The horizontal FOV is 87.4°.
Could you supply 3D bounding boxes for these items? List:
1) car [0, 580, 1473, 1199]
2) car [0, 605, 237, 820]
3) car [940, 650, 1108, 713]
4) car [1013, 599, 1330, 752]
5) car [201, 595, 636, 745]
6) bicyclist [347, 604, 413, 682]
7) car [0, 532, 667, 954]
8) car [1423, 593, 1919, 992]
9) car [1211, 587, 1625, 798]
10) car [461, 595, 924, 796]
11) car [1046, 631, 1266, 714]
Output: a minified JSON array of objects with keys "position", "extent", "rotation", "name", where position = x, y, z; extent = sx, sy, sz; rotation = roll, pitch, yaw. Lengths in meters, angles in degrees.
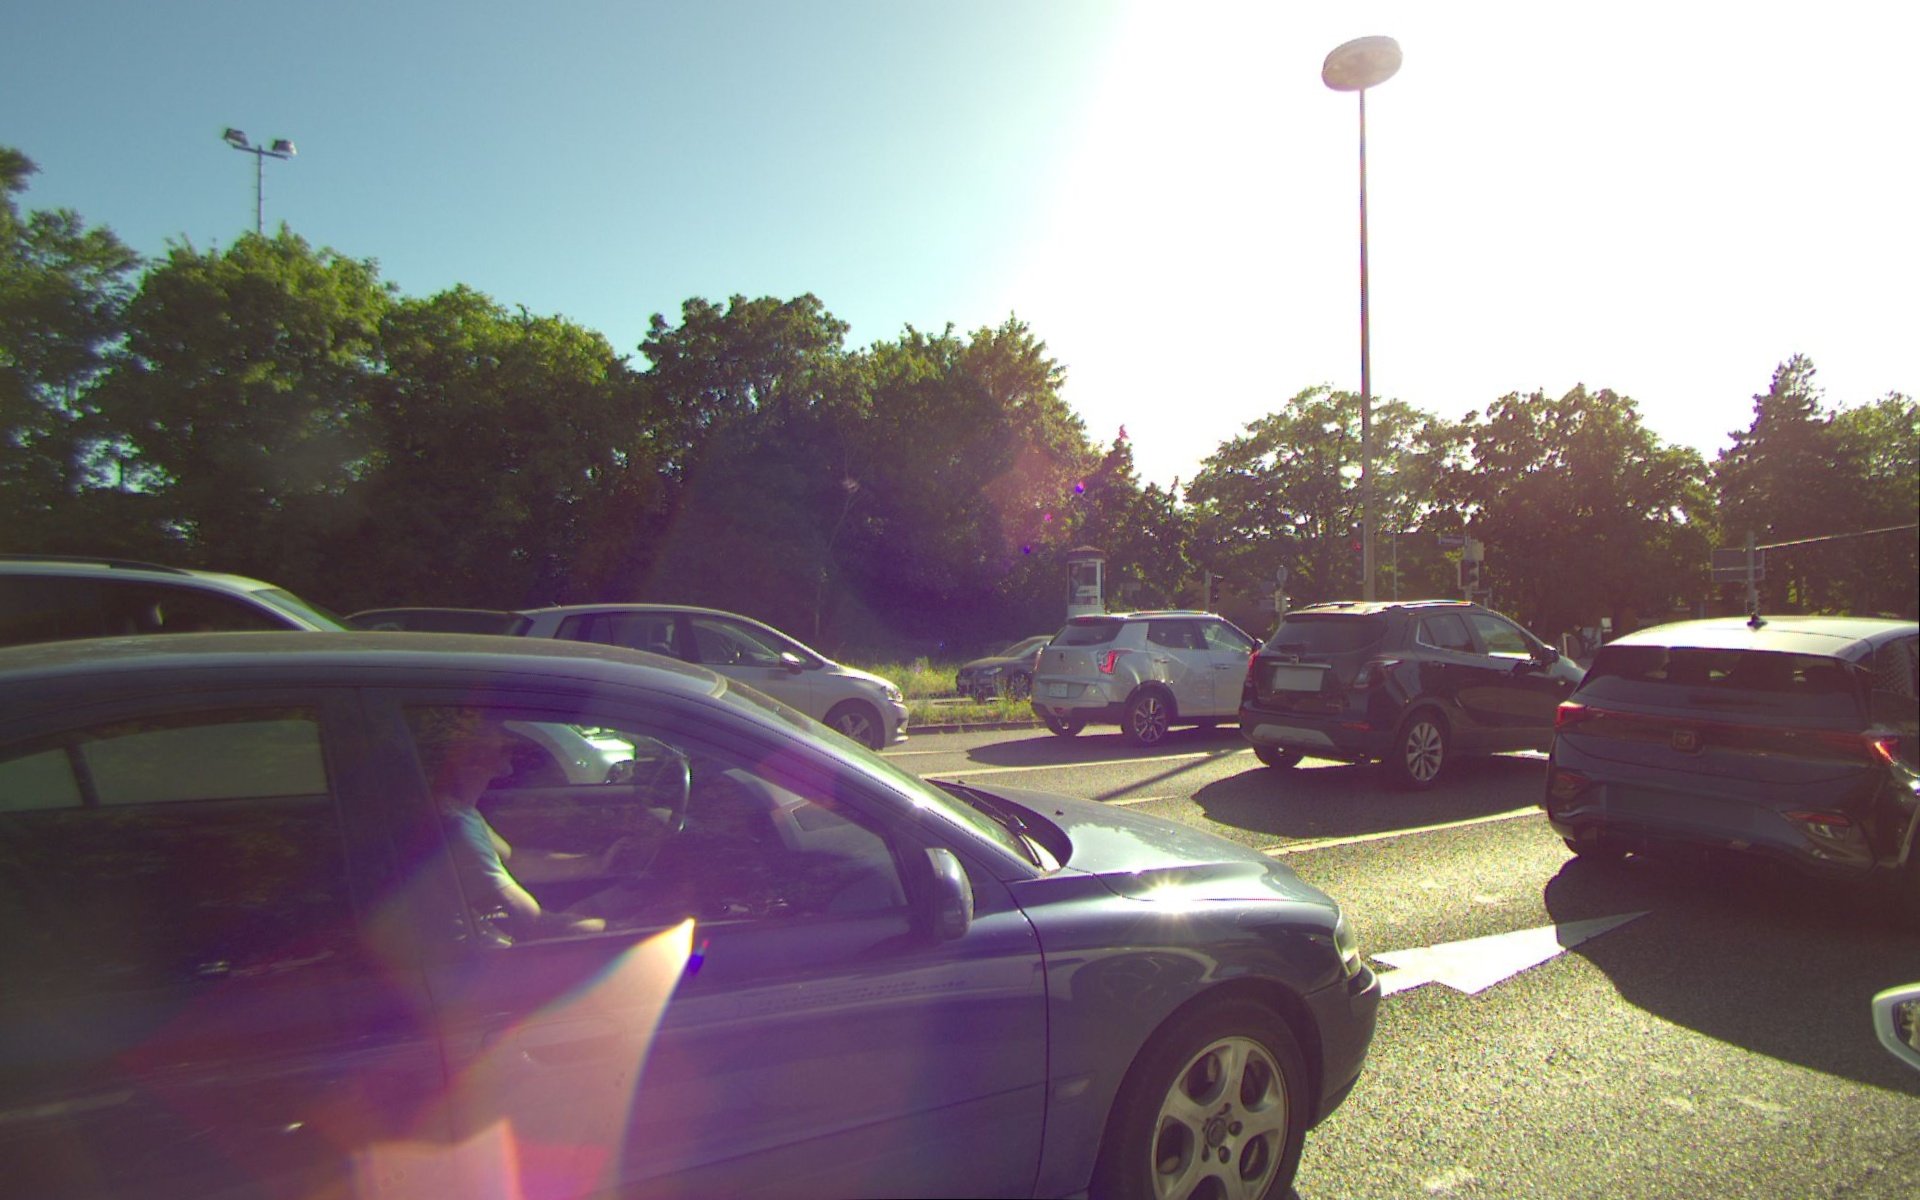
[{"position":[-1.023,0.727,2.246],"extent":[4.404,1.471,1.767],"rotation":[2,0,-30],"name":"car"},{"position":[-7.908,0.764,6.956],"extent":[4.499,1.448,1.822],"rotation":[1,-2,-30],"name":"car"},{"position":[1.443,1.755,22.235],"extent":[3.593,1.251,1.383],"rotation":[1,-2,-30],"name":"car"},{"position":[2.816,0.913,13.188],"extent":[3.956,1.724,1.820],"rotation":[1,-2,-32],"name":"car"},{"position":[-6.717,0.822,12.891],"extent":[4.561,1.622,1.984],"rotation":[1,-2,-30],"name":"car"},{"position":[-12.811,0.946,22.184],"extent":[1.187,1.670,0.870],"rotation":[1,-2,-35],"name":"bicyclist"},{"position":[-3.984,0.623,5.260],"extent":[4.373,1.732,1.984],"rotation":[1,-2,-30],"name":"car"},{"position":[4.745,0.829,5.821],"extent":[4.158,1.601,1.676],"rotation":[2,-1,-30],"name":"car"},{"position":[4.578,0.812,9.955],"extent":[3.953,1.711,1.796],"rotation":[1,-2,-30],"name":"car"},{"position":[-2.608,0.836,10.011],"extent":[4.156,1.632,1.822],"rotation":[1,-2,-30],"name":"car"},{"position":[3.876,1.355,19.731],"extent":[4.116,1.482,1.768],"rotation":[1,-2,-30],"name":"car"}]
